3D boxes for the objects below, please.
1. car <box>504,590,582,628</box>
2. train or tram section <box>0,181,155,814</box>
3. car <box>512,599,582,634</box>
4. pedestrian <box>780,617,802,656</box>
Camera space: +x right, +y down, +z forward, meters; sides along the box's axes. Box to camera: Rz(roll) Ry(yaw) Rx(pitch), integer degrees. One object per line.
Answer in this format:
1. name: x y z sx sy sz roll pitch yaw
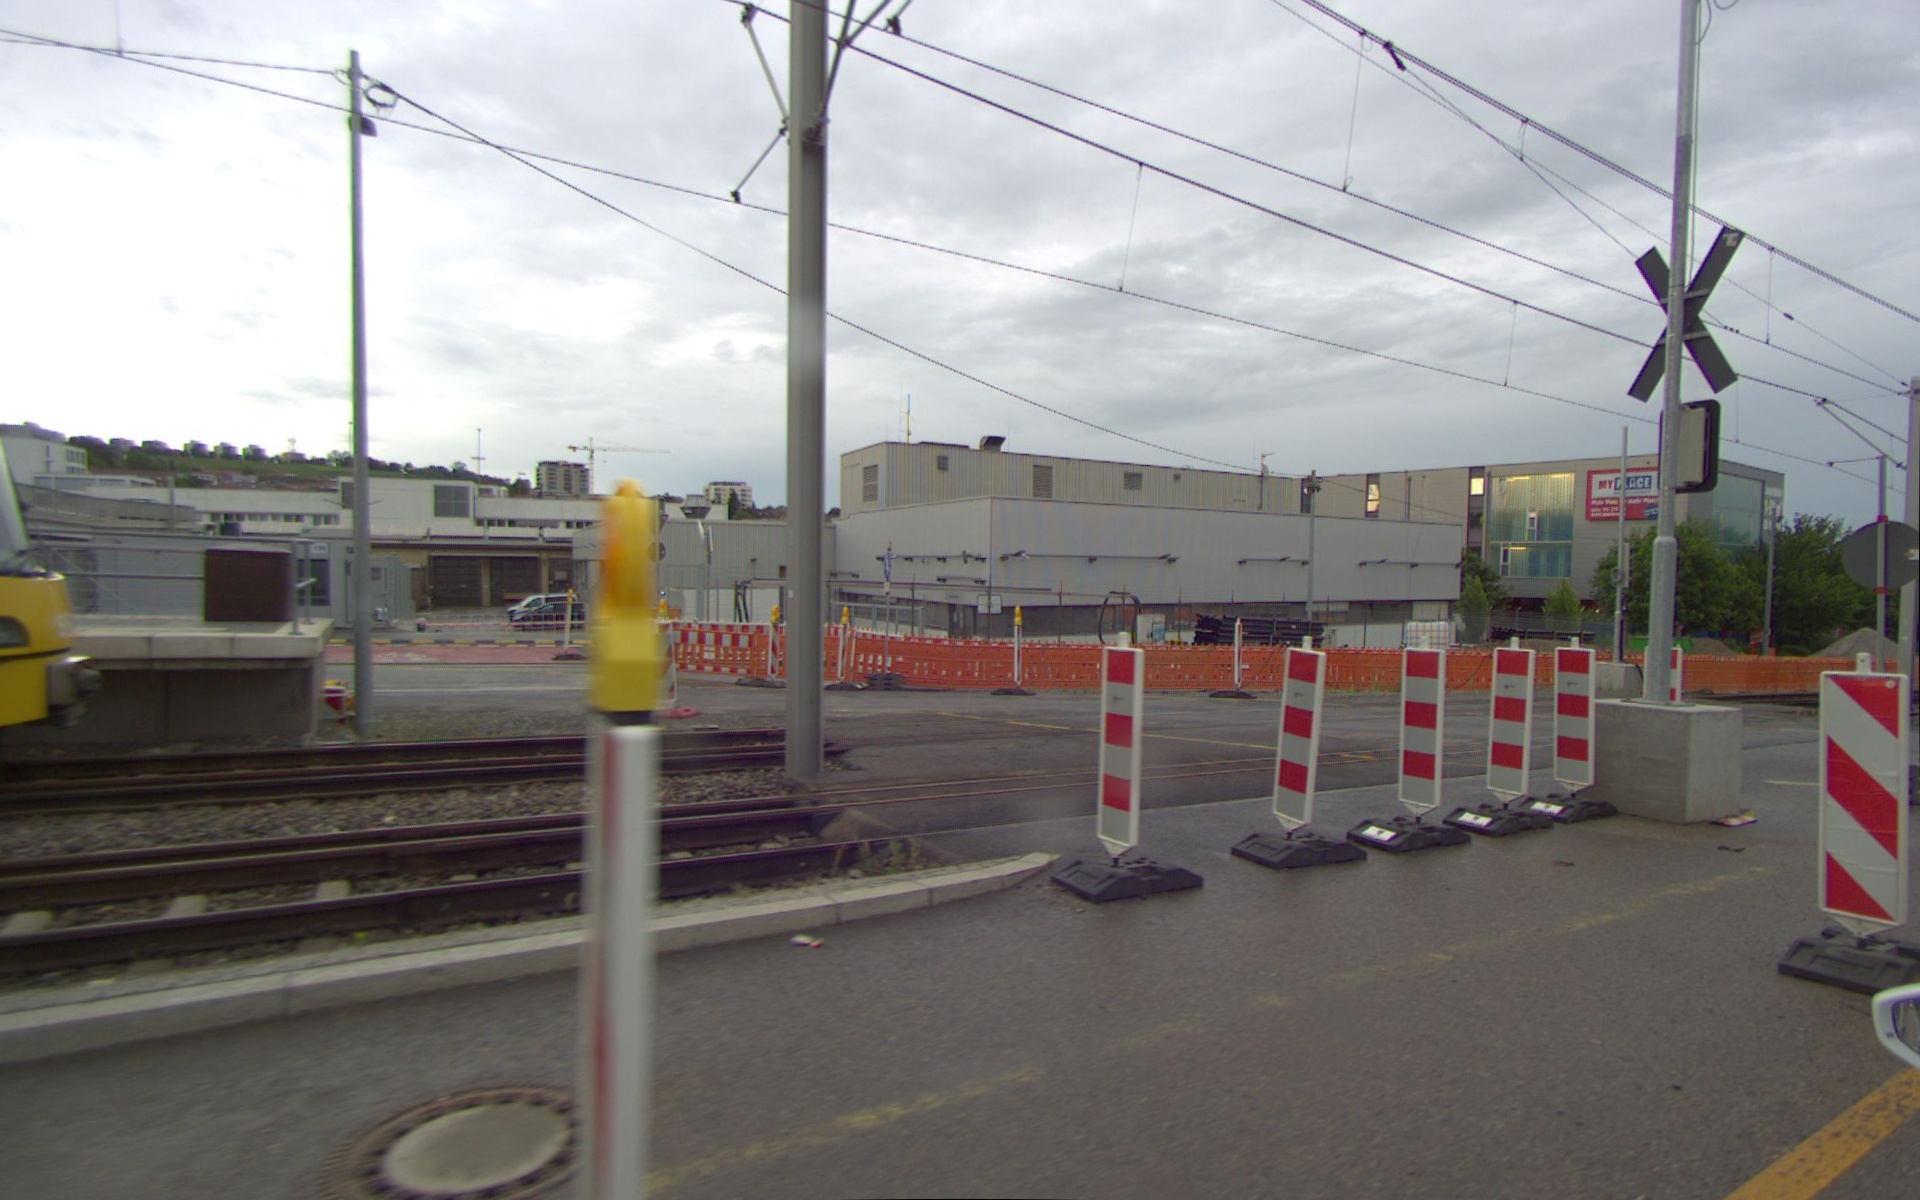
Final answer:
1. car: -28.993 0.619 69.856 4.863 2.510 1.972 2 0 -28
2. train or tram section: -14.829 -0.858 3.019 19.054 3.938 2.942 1 2 -29
3. car: -25.588 1.002 62.342 3.942 2.040 1.990 2 0 -22
4. pedestrian: -8.008 1.726 47.651 0.755 1.814 0.703 1 0 -33
